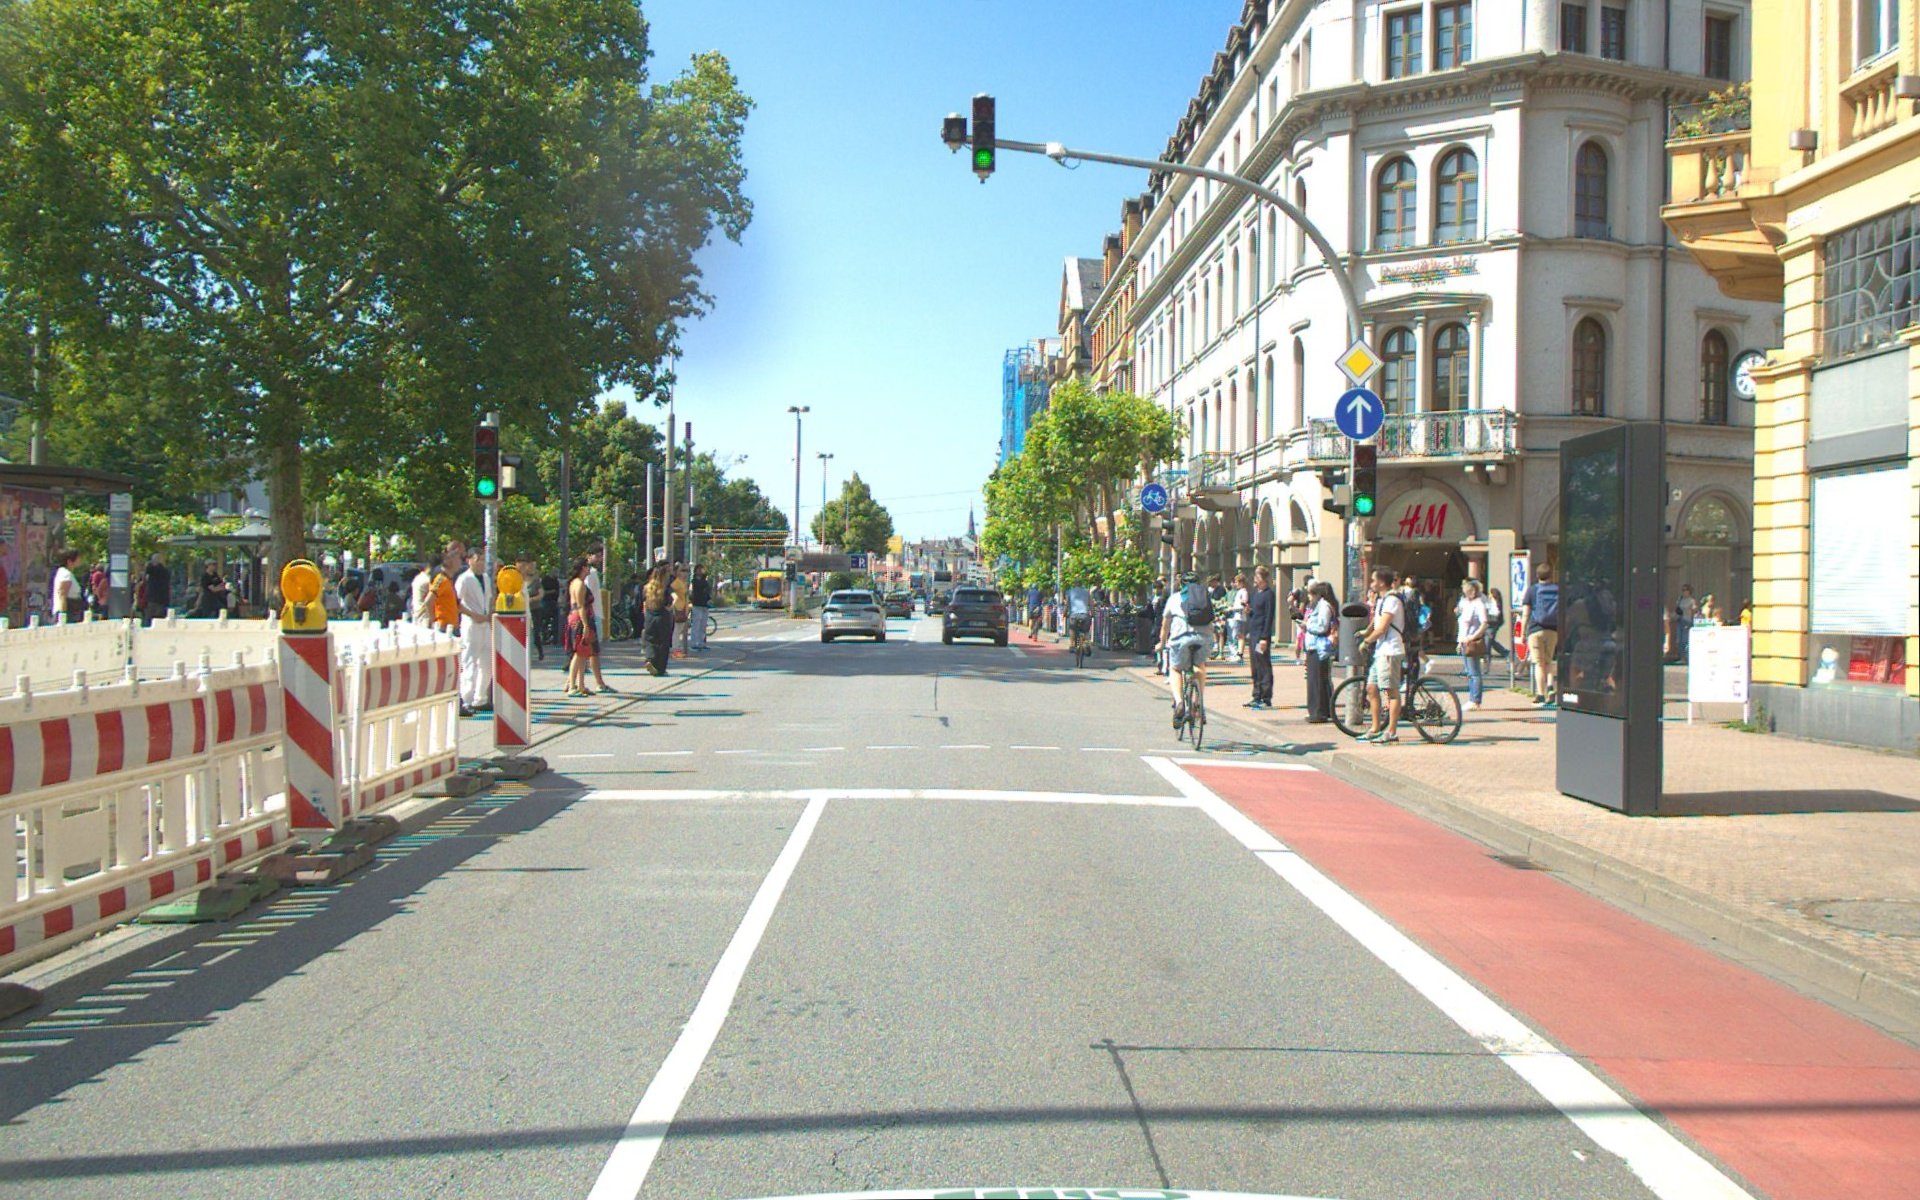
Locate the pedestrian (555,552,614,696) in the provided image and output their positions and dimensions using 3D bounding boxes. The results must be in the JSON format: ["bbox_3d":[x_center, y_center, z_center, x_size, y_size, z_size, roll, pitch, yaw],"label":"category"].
[{"bbox_3d":[-4.765,0.299,21.035,0.564,1.788,0.638,1,0,1],"label":"pedestrian"}]

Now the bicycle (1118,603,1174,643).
[{"bbox_3d":[4.774,0.588,42.504,1.391,0.997,0.401,0,1,-1],"label":"bicycle"}]

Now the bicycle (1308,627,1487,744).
[{"bbox_3d":[4.468,0.846,17.006,0.595,1.101,1.816,-2,1,-35],"label":"bicycle"}]

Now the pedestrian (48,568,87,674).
[{"bbox_3d":[-16.059,0.375,29.757,0.541,1.891,0.499,1,0,-35],"label":"pedestrian"}]

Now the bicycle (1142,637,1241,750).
[{"bbox_3d":[2.286,0.903,16.533,0.617,0.997,2.088,2,0,-2],"label":"bicycle"}]

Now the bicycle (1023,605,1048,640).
[{"bbox_3d":[2.328,0.678,51.173,0.634,1.015,2.030,1,0,-1],"label":"bicycle"}]

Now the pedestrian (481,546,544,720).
[{"bbox_3d":[-4.663,0.335,17.228,0.425,1.770,0.600,2,0,-32],"label":"pedestrian"}]

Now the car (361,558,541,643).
[{"bbox_3d":[-12.707,0.009,41.618,1.820,1.989,4.762,1,0,20],"label":"car"}]

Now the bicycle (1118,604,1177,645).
[{"bbox_3d":[4.657,0.597,41.118,1.391,0.997,0.445,0,1,-1],"label":"bicycle"}]

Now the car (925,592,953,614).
[{"bbox_3d":[-1.482,0.211,114.581,1.808,1.438,3.999,1,0,-2],"label":"car"}]

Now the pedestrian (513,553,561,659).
[{"bbox_3d":[-7.359,0.103,28.789,0.564,1.810,0.606,2,0,5],"label":"pedestrian"}]

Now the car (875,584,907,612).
[{"bbox_3d":[-4.058,-0.129,98.206,1.808,1.587,3.999,1,0,-2],"label":"car"}]

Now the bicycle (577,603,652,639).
[{"bbox_3d":[-9.745,0.581,46.694,2.046,0.997,0.682,0,0,-13],"label":"bicycle"}]

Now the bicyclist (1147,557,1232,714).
[{"bbox_3d":[2.297,0.342,16.669,0.617,1.507,1.198,2,0,-2],"label":"bicyclist"}]

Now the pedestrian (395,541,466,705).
[{"bbox_3d":[-6.361,0.269,19.888,0.564,1.923,0.653,2,0,1],"label":"pedestrian"}]

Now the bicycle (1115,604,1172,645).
[{"bbox_3d":[4.615,0.604,41.573,1.391,0.997,0.445,0,1,-1],"label":"bicycle"}]

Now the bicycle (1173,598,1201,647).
[{"bbox_3d":[5.511,0.532,40.084,0.391,1.133,1.425,0,1,20],"label":"bicycle"}]

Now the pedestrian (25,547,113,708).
[{"bbox_3d":[-10.030,0.303,18.630,0.564,1.769,0.606,2,0,5],"label":"pedestrian"}]

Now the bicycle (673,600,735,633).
[{"bbox_3d":[-8.446,0.548,54.643,1.933,1.044,0.675,1,0,-21],"label":"bicycle"}]

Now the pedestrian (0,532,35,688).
[{"bbox_3d":[-11.865,0.116,20.424,0.656,1.912,0.624,2,0,-35],"label":"pedestrian"}]

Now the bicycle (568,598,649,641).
[{"bbox_3d":[-9.160,0.495,43.151,2.046,1.108,0.682,0,0,-13],"label":"bicycle"}]

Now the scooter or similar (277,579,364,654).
[{"bbox_3d":[-12.658,0.320,32.742,1.252,1.445,1.037,1,0,29],"label":"scooter or similar"}]

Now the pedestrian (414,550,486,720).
[{"bbox_3d":[-5.376,0.364,17.424,0.534,1.748,0.599,2,0,-32],"label":"pedestrian"}]

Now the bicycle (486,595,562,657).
[{"bbox_3d":[-7.656,0.445,29.129,0.479,1.047,1.936,1,0,11],"label":"bicycle"}]

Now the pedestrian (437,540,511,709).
[{"bbox_3d":[-5.326,0.266,18.161,0.528,1.810,0.606,2,0,5],"label":"pedestrian"}]

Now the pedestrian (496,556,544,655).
[{"bbox_3d":[-7.903,0.099,29.727,0.563,1.741,0.607,2,0,12],"label":"pedestrian"}]

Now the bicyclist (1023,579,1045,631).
[{"bbox_3d":[2.296,0.149,51.361,0.634,1.578,0.817,1,0,-1],"label":"bicyclist"}]

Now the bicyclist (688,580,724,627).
[{"bbox_3d":[-8.389,0.111,54.667,1.033,1.529,0.737,1,0,-20],"label":"bicyclist"}]

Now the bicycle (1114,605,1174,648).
[{"bbox_3d":[4.435,0.641,39.831,1.391,0.997,0.445,0,1,-1],"label":"bicycle"}]

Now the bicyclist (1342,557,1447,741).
[{"bbox_3d":[4.459,0.485,16.997,0.569,1.828,0.846,-2,1,-35],"label":"bicyclist"}]

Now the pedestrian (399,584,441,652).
[{"bbox_3d":[-11.392,0.370,34.910,0.717,1.410,0.664,1,0,-8],"label":"pedestrian"}]

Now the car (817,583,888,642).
[{"bbox_3d":[-3.019,0.330,47.021,1.808,1.587,4.000,0,1,-1],"label":"car"}]

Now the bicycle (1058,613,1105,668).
[{"bbox_3d":[2.485,0.806,33.931,0.758,1.023,2.329,0,1,-1],"label":"bicycle"}]

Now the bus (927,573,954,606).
[{"bbox_3d":[-2.338,-1.180,194.711,2.934,3.657,11.740,1,0,-2],"label":"bus"}]

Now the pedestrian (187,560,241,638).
[{"bbox_3d":[-14.602,-0.013,32.380,0.619,1.504,0.731,1,0,20],"label":"pedestrian"}]

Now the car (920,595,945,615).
[{"bbox_3d":[-2.118,0.375,126.371,1.808,1.438,3.999,1,0,-2],"label":"car"}]

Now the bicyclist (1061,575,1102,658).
[{"bbox_3d":[2.486,0.327,33.909,0.758,1.664,0.851,0,1,-1],"label":"bicyclist"}]

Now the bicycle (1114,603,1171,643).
[{"bbox_3d":[4.629,0.591,42.066,1.391,0.997,0.445,0,1,-1],"label":"bicycle"}]

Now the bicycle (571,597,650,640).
[{"bbox_3d":[-9.252,0.491,43.825,2.046,1.108,0.682,0,0,-13],"label":"bicycle"}]

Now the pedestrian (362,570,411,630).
[{"bbox_3d":[-11.289,0.005,32.587,0.619,1.164,0.665,1,0,20],"label":"pedestrian"}]

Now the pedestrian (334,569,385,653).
[{"bbox_3d":[-11.601,0.212,31.938,0.619,1.593,0.665,1,0,20],"label":"pedestrian"}]

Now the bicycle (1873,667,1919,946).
[{"bbox_3d":[4.863,0.869,6.979,1.746,1.142,0.562,0,0,-4],"label":"bicycle"}]

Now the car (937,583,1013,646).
[{"bbox_3d":[0.374,0.372,46.133,1.809,1.586,3.998,-2,1,-3],"label":"car"}]

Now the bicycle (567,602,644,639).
[{"bbox_3d":[-9.730,0.555,45.470,2.046,0.997,0.682,0,0,-13],"label":"bicycle"}]

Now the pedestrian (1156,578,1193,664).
[{"bbox_3d":[4.371,0.421,33.713,0.571,1.703,0.605,-2,0,-3],"label":"pedestrian"}]

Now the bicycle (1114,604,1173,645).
[{"bbox_3d":[4.515,0.601,40.654,1.391,0.997,0.445,0,1,-1],"label":"bicycle"}]

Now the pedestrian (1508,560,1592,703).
[{"bbox_3d":[7.782,0.422,21.842,0.644,1.821,1.232,1,-2,-1],"label":"pedestrian"}]

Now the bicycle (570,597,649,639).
[{"bbox_3d":[-9.414,0.477,44.473,2.046,1.108,0.682,0,0,-13],"label":"bicycle"}]
